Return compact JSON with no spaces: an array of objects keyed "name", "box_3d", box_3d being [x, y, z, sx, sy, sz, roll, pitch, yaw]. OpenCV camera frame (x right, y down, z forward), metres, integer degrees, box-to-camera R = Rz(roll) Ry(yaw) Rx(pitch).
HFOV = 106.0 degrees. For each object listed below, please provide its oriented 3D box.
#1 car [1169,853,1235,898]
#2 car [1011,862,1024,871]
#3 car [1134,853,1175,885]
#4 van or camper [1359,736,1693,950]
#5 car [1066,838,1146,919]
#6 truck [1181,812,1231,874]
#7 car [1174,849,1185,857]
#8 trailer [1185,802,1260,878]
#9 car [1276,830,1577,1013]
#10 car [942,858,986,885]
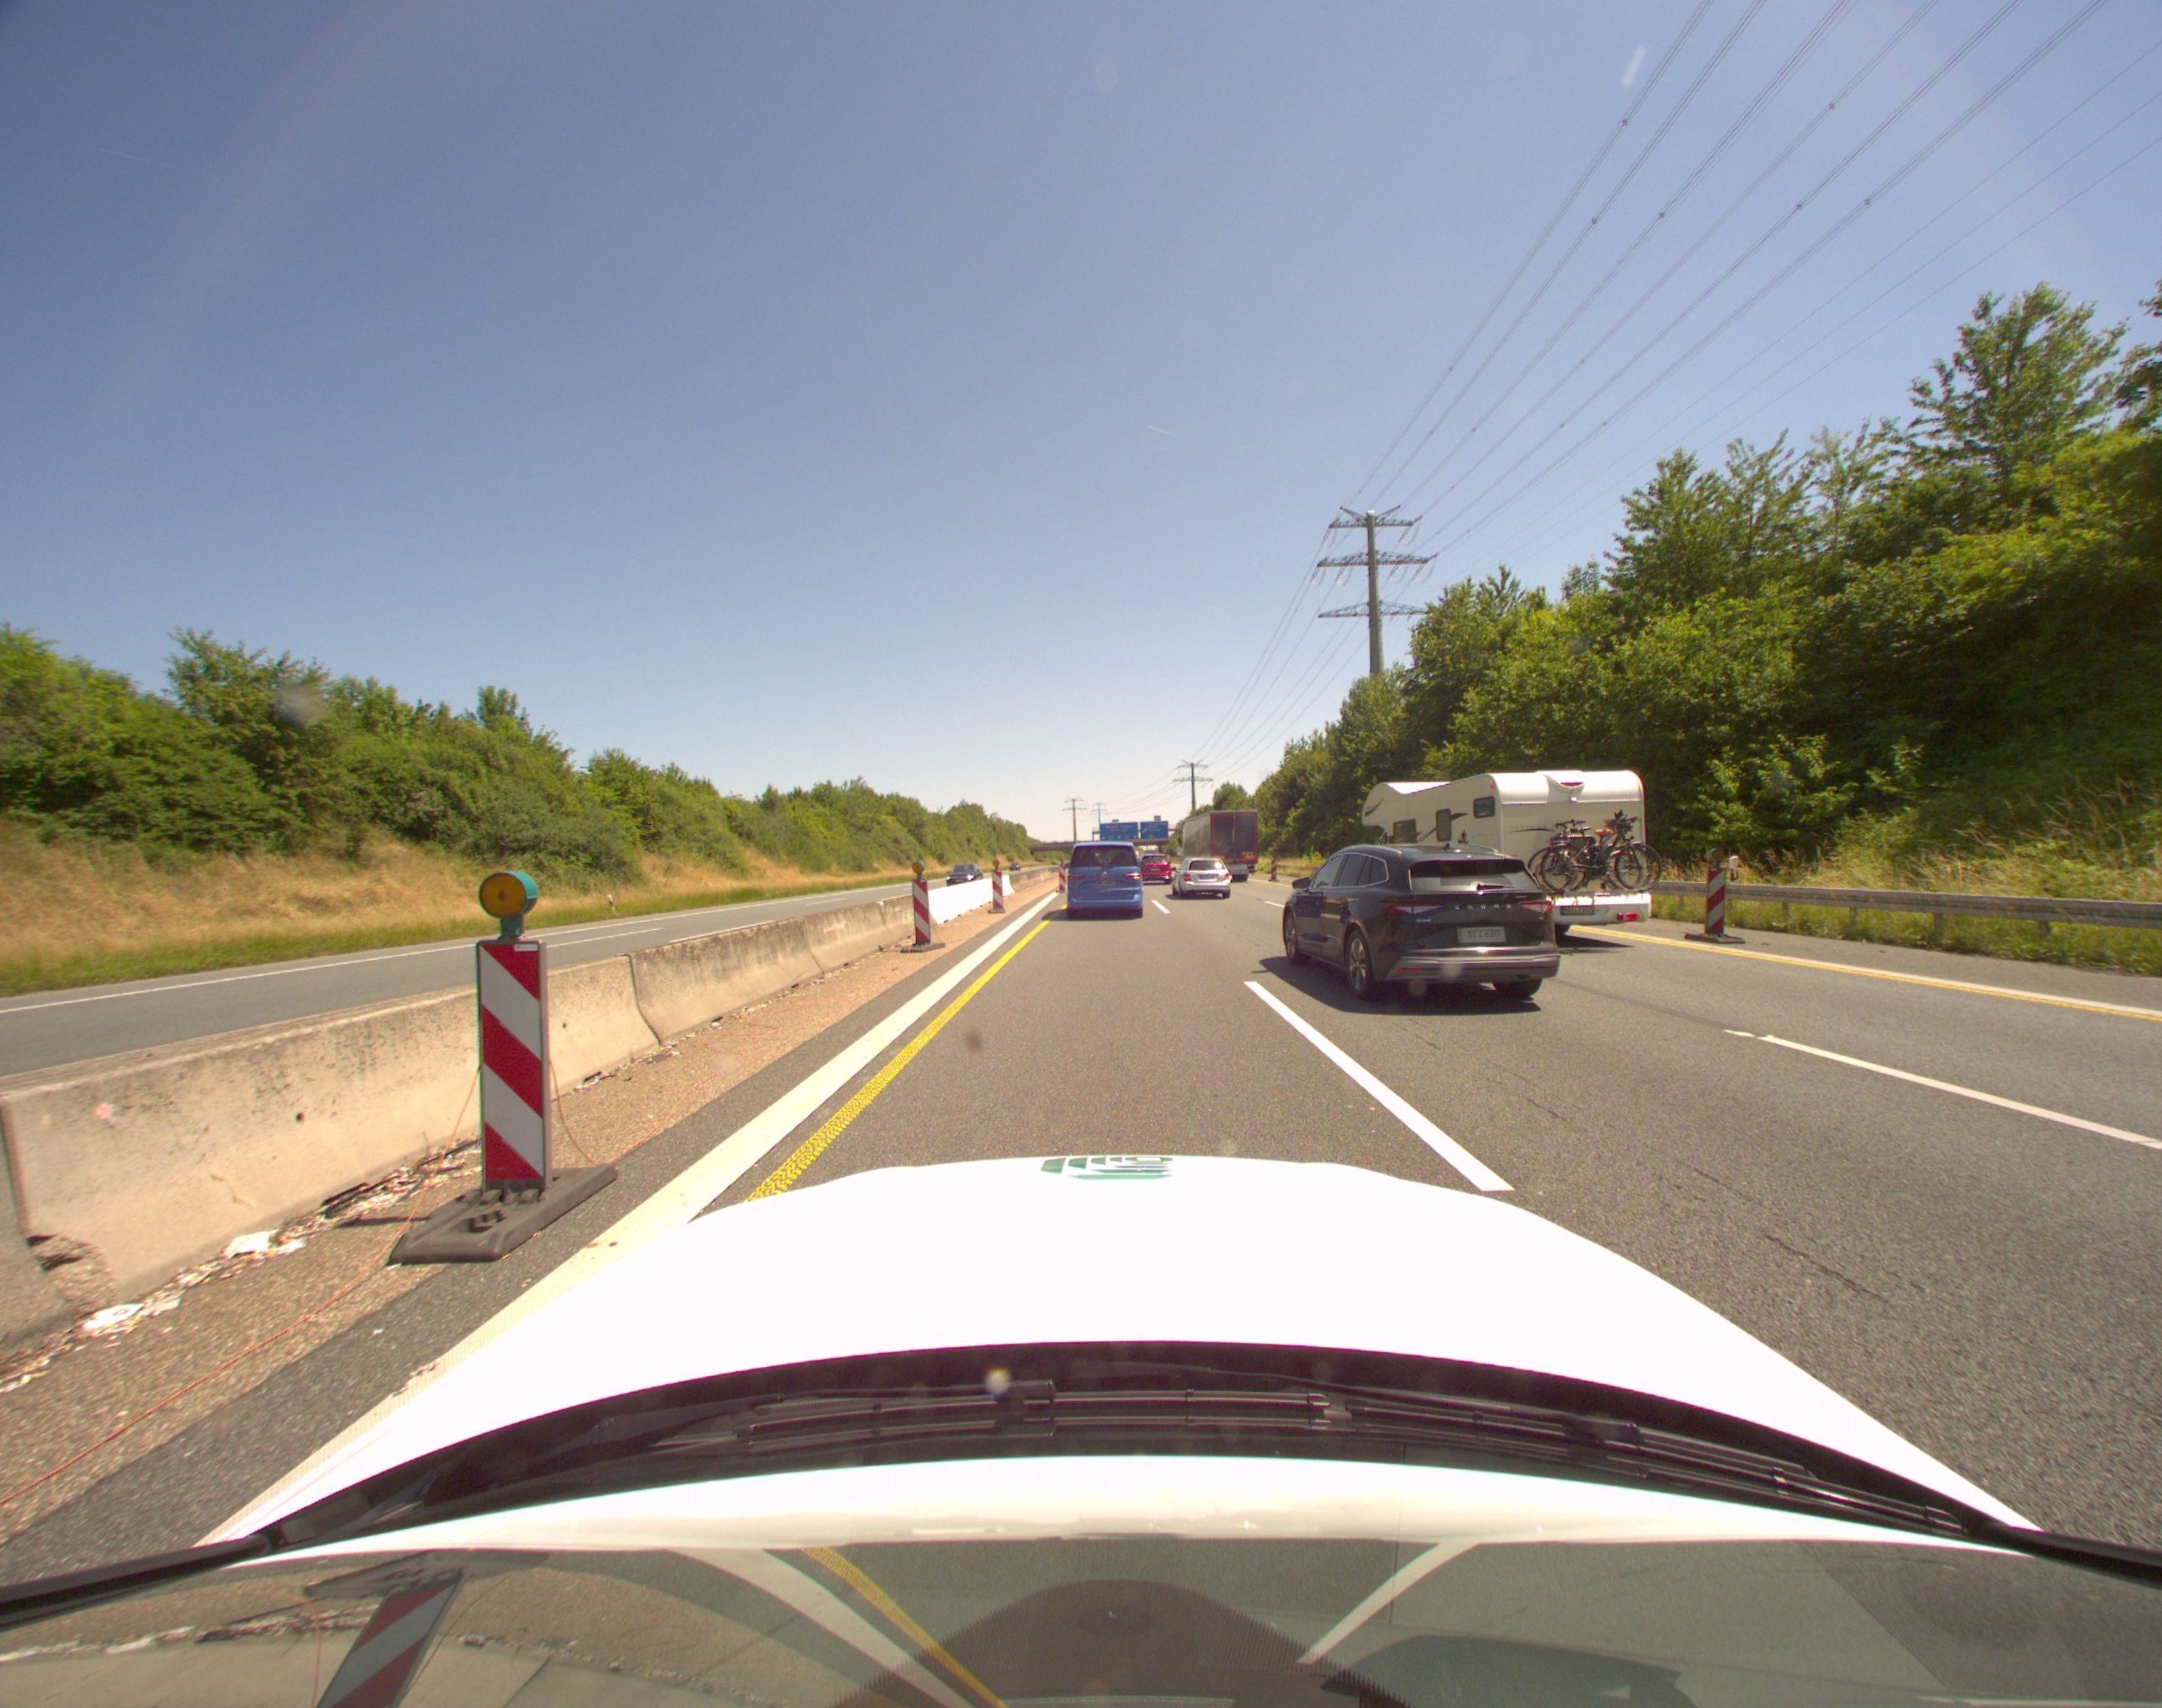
[{"name":"car","box_3d":[4.317,0.752,29.617,1.765,1.517,4.359,0,0,0]},{"name":"car","box_3d":[-10.671,2.101,137.023,1.703,1.464,3.849,-3,0,0]},{"name":"car","box_3d":[3.934,0.793,44.360,1.868,1.671,4.359,0,0,0]},{"name":"van or camper","box_3d":[7.659,-0.127,15.457,2.360,3.043,7.635,0,0,2]},{"name":"car","box_3d":[0.606,0.600,21.395,1.868,1.912,4.359,0,0,0]},{"name":"truck","box_3d":[8.597,-0.690,56.481,2.723,4.047,5.795,0,-1,2]},{"name":"car","box_3d":[22.110,-0.178,183.124,1.868,1.671,4.359,0,0,0]},{"name":"trailer","box_3d":[8.381,-0.691,50.023,2.772,4.047,13.118,0,0,2]},{"name":"car","box_3d":[3.670,0.627,9.614,1.695,1.655,4.429,0,0,0]},{"name":"car","box_3d":[-7.143,1.058,50.171,1.855,1.490,4.495,-3,0,2]}]
